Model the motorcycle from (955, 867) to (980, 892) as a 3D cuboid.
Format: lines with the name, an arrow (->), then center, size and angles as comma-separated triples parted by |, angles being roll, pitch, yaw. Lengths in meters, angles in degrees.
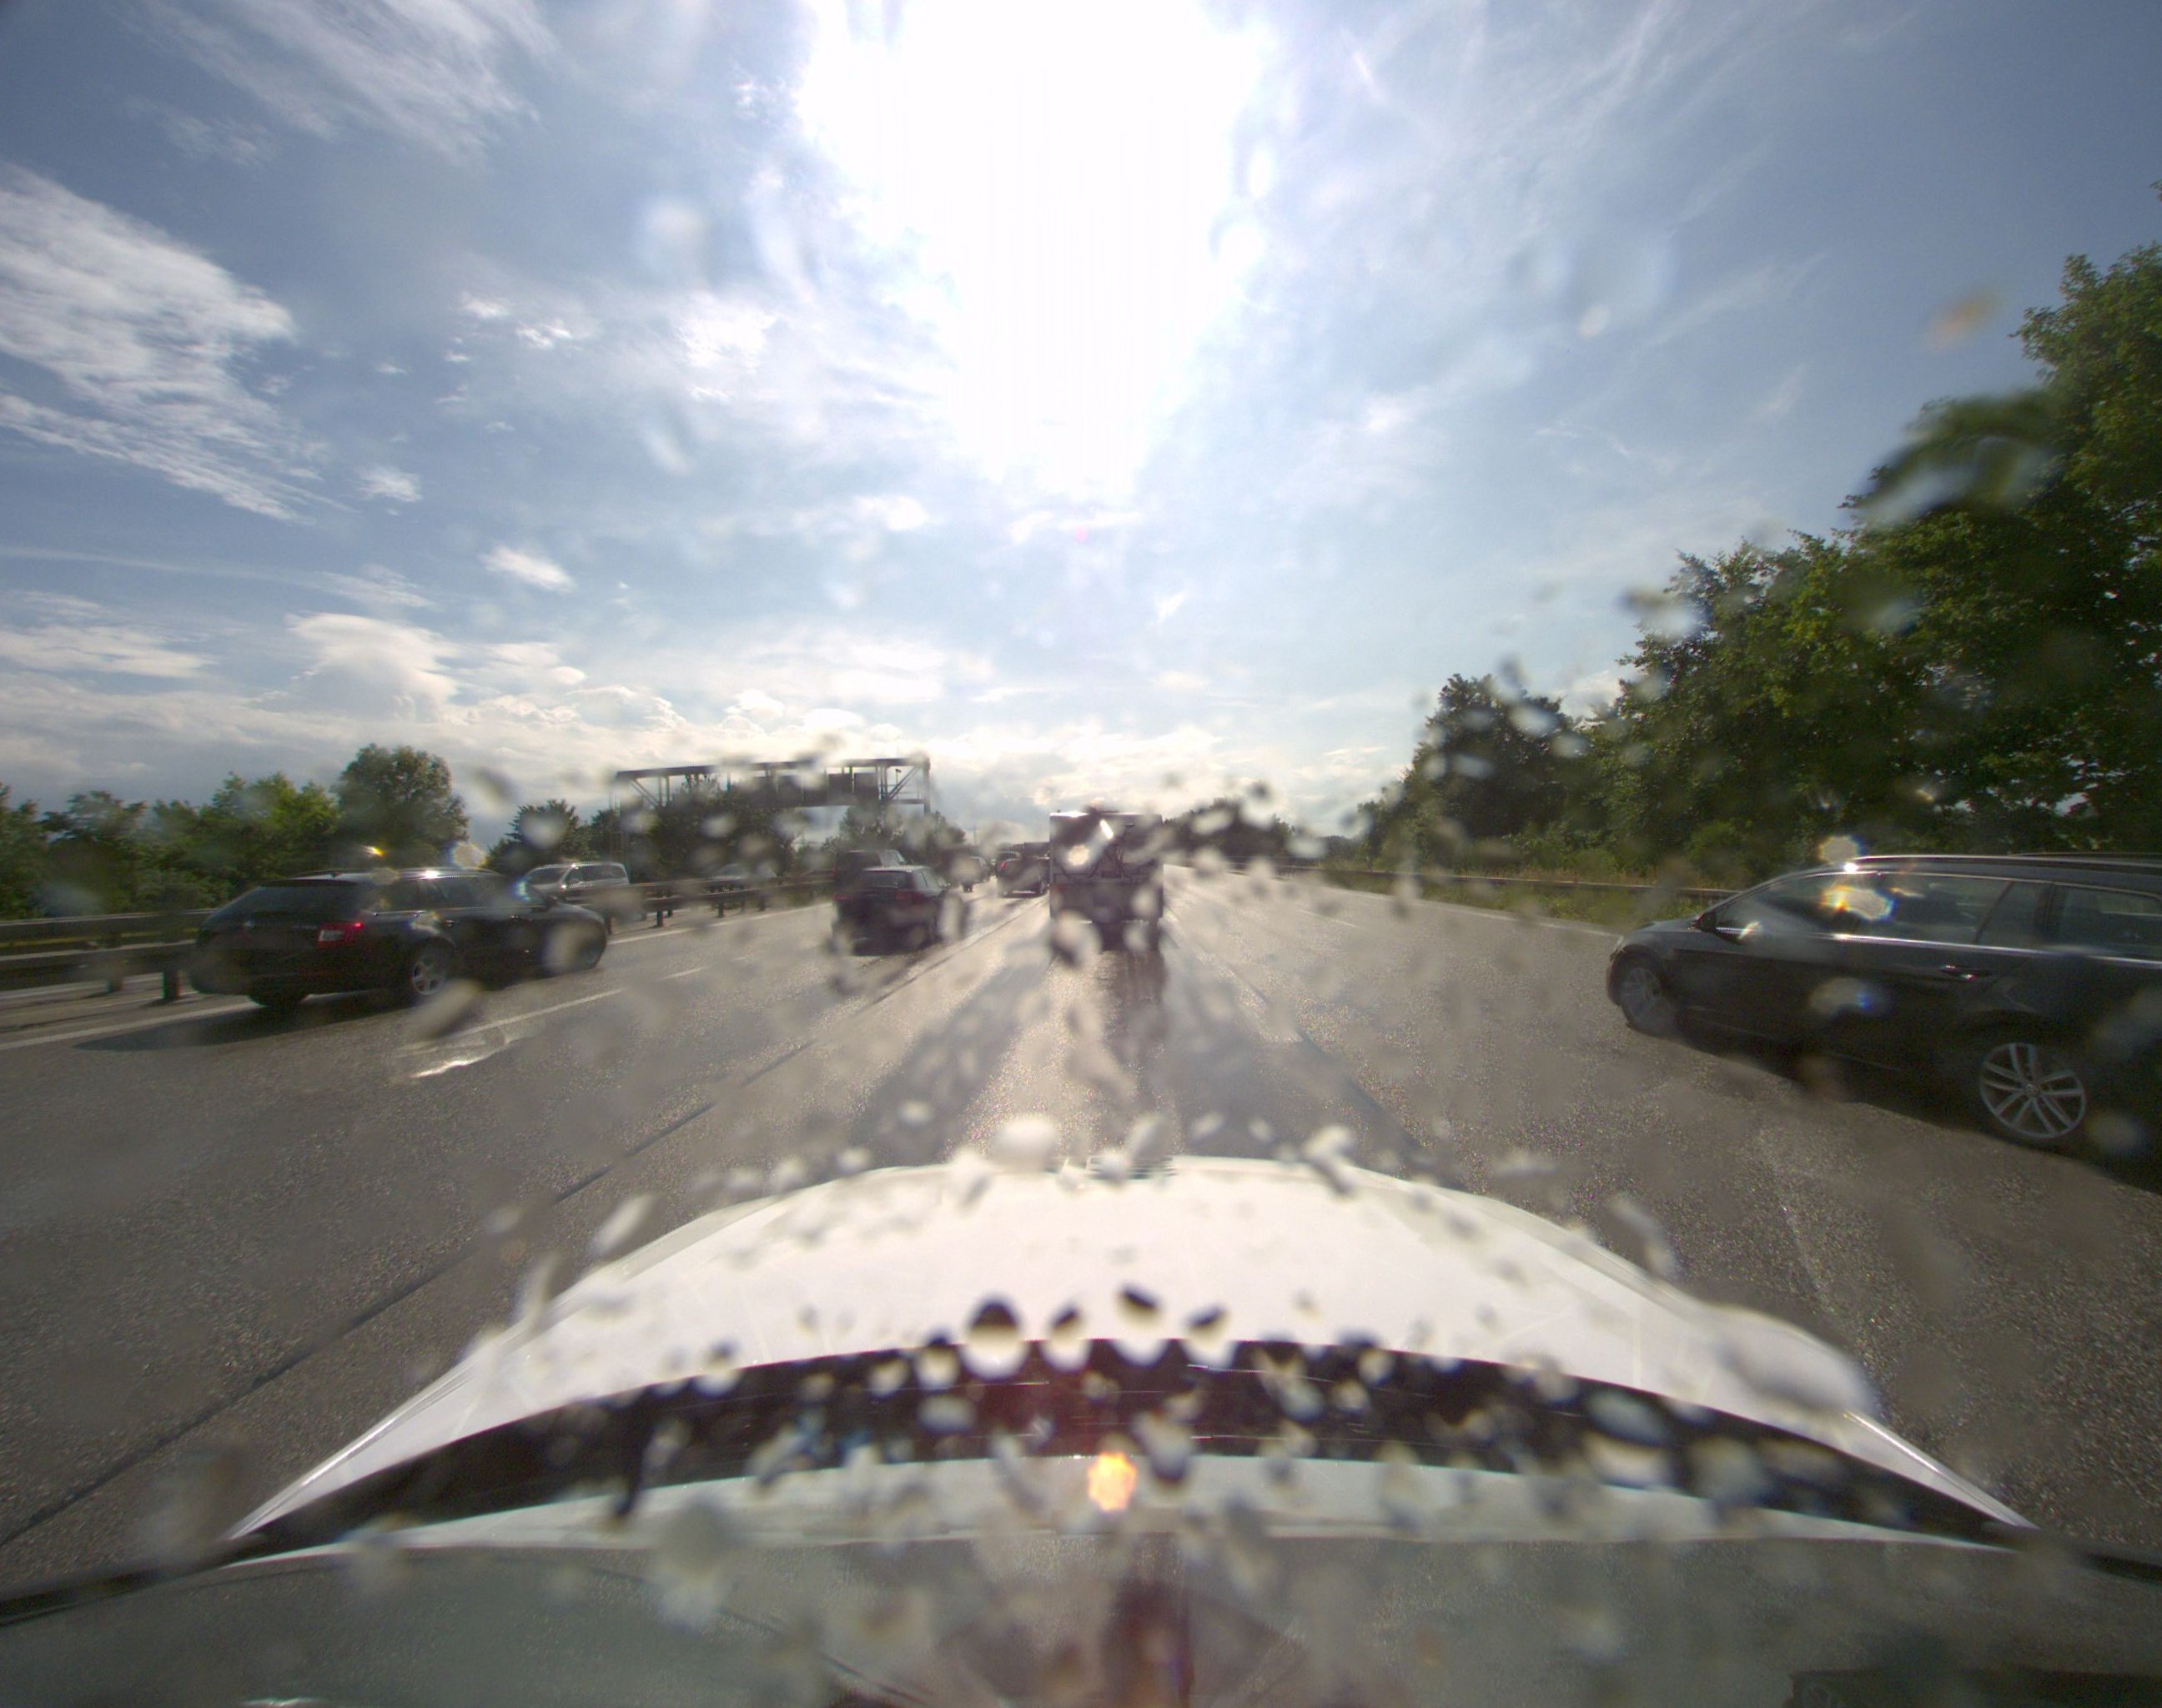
motorcycle -> -5.101, 1.145, 36.652 | 0.688, 1.027, 2.390 | -1, 0, 2

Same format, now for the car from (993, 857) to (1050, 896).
car -> -2.331, 0.850, 32.928 | 1.751, 1.443, 4.004 | -1, 0, 3

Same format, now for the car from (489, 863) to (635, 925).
car -> -18.703, 1.369, 29.680 | 1.986, 2.013, 4.953 | -1, 0, 2

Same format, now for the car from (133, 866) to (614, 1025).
car -> -7.946, 0.899, 9.884 | 1.913, 1.425, 4.374 | -1, 0, 2

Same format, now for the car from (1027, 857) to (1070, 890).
car -> -1.581, 0.947, 41.006 | 1.856, 1.508, 4.001 | -1, 0, 2

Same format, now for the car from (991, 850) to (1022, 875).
car -> -5.908, 0.651, 65.134 | 1.841, 1.934, 5.018 | -1, 0, 2

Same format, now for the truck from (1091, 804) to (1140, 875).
truck -> 2.401, -0.954, 58.778 | 3.134, 4.626, 10.739 | -1, 0, 2

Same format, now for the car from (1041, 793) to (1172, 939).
car -> 0.583, 0.232, 17.052 | 2.400, 2.674, 4.003 | -1, -1, 3

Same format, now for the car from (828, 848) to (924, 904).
car -> -7.323, 0.723, 29.747 | 1.799, 1.844, 5.423 | -1, 0, 3

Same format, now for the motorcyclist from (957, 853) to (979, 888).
motorcyclist -> -5.112, 0.754, 36.800 | 0.792, 1.537, 1.094 | -1, 0, 2

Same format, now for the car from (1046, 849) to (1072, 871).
car -> -1.681, 0.449, 63.099 | 1.682, 1.662, 3.642 | -1, 0, 2

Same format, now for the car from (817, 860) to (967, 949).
car -> -3.419, 0.849, 15.525 | 1.743, 1.433, 4.056 | -1, 0, 2

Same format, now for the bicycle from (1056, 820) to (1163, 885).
bicycle -> 0.521, -0.022, 14.866 | 1.925, 1.141, 0.384 | -1, -1, 3

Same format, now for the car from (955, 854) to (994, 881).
car -> -6.613, 0.812, 50.872 | 1.776, 1.578, 3.917 | -1, 0, 1

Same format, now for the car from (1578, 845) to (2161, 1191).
car -> 5.353, 0.683, 5.108 | 1.738, 1.431, 4.403 | -1, 0, -1

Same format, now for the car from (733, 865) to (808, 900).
car -> -14.180, 1.268, 37.405 | 1.769, 1.442, 4.001 | -1, 0, 2
